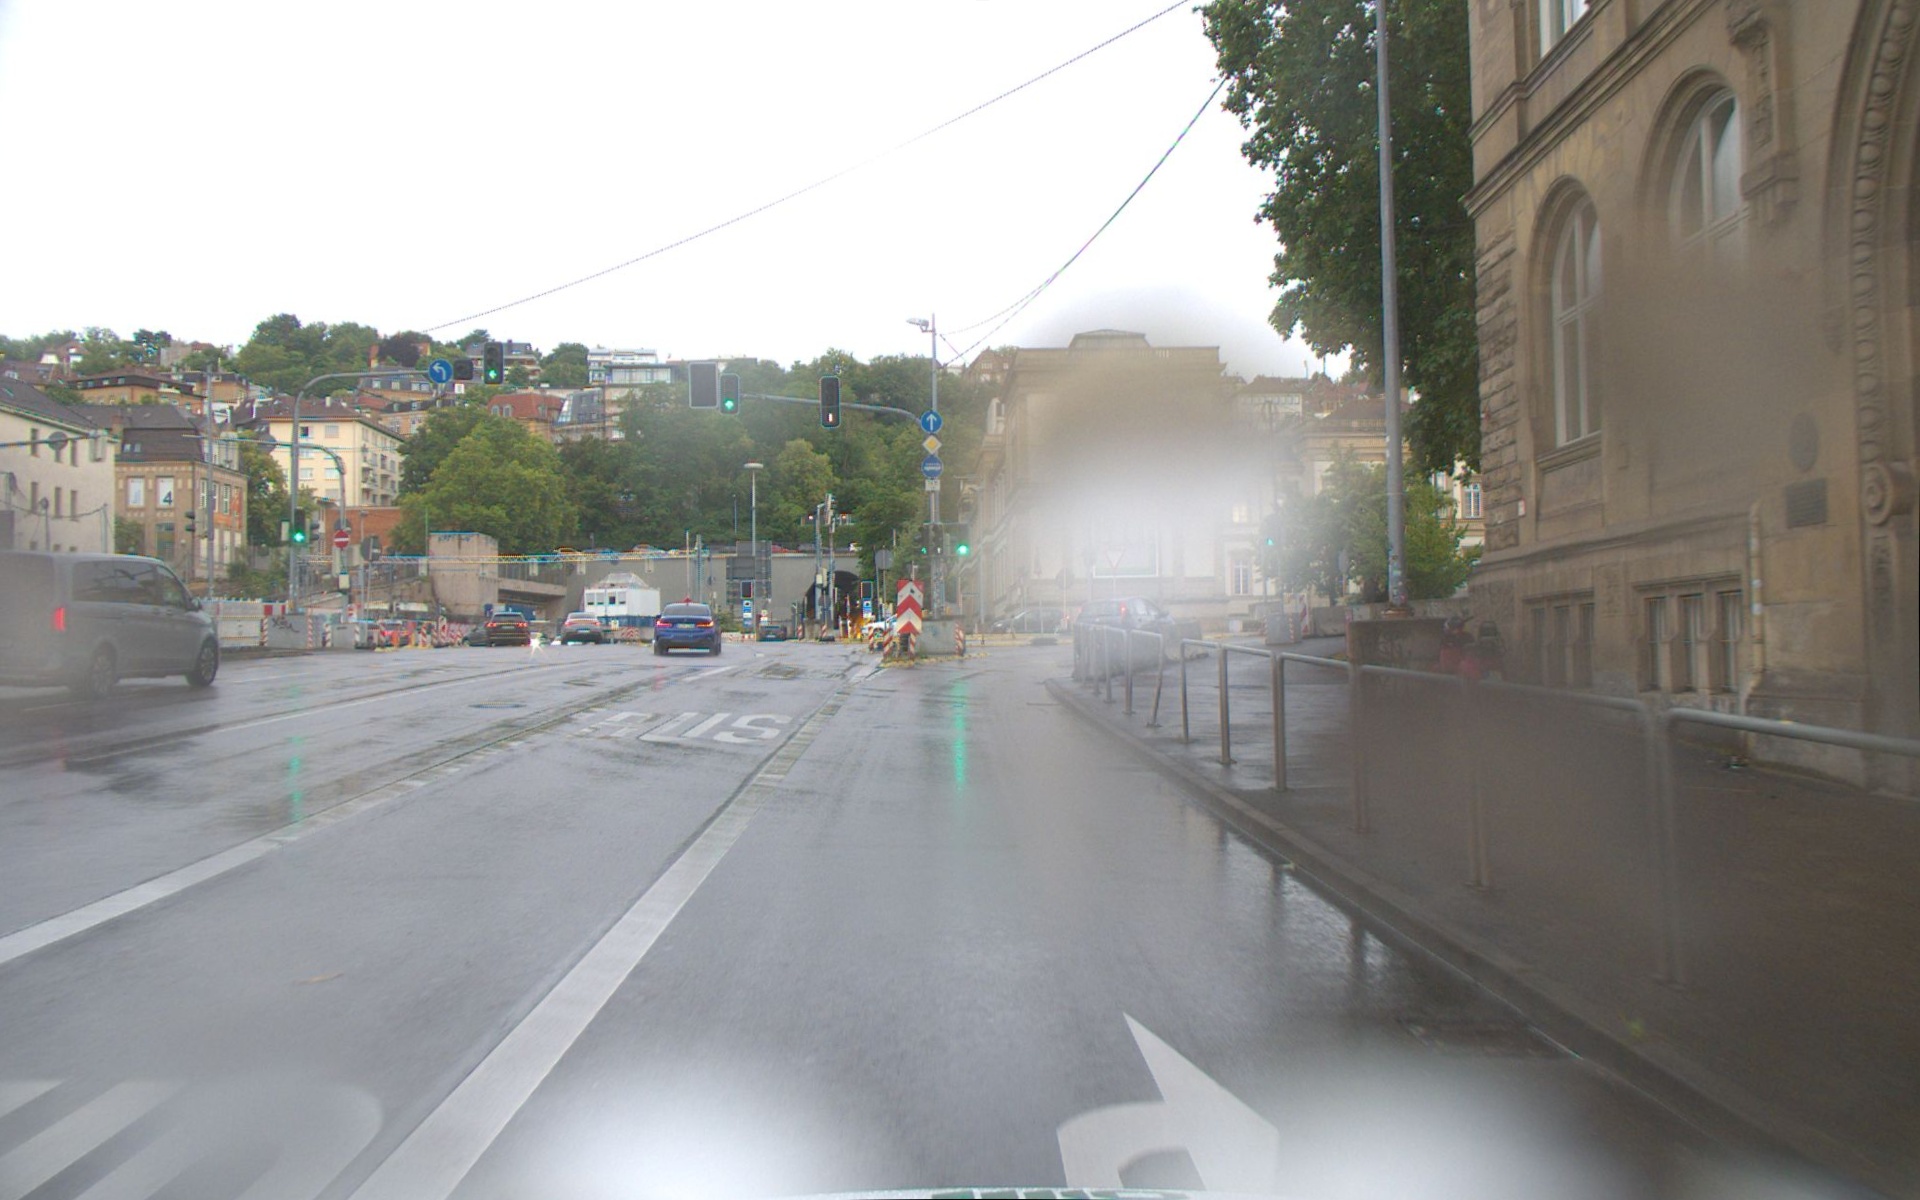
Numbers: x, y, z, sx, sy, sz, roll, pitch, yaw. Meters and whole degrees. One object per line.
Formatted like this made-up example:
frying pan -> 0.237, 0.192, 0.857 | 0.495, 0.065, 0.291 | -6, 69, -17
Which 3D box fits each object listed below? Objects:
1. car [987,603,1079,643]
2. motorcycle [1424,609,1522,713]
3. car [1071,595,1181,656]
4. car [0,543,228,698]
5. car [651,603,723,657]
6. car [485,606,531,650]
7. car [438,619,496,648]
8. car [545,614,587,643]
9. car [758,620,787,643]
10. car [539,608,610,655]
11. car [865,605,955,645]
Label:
car -> 3.810, 1.180, 86.922 | 4.584, 2.049, 1.998 | 0, 0, -6
motorcycle -> 6.092, 0.694, 19.727 | 0.535, 1.158, 1.898 | -1, 0, -1
car -> 4.230, 0.648, 41.776 | 1.636, 1.452, 3.755 | -1, -1, 24
car -> -11.832, 0.271, 22.260 | 1.953, 1.871, 4.682 | 0, -1, -1
car -> -7.841, 0.837, 47.352 | 1.957, 1.464, 3.990 | 0, -1, -10
car -> -19.417, 1.164, 70.952 | 1.748, 1.780, 3.980 | 0, 0, -18
car -> -27.187, 1.815, 91.141 | 1.763, 1.489, 3.946 | 0, 0, -38
car -> -28.852, 2.078, 121.102 | 1.952, 2.049, 4.001 | 0, 0, 2
car -> -12.126, 2.017, 107.037 | 1.463, 1.378, 3.999 | 1, 0, -1
car -> -17.821, 1.399, 76.250 | 1.974, 2.049, 4.248 | 0, 0, -32
car -> -2.630, 1.301, 86.155 | 4.537, 2.049, 1.998 | 0, 0, -6
